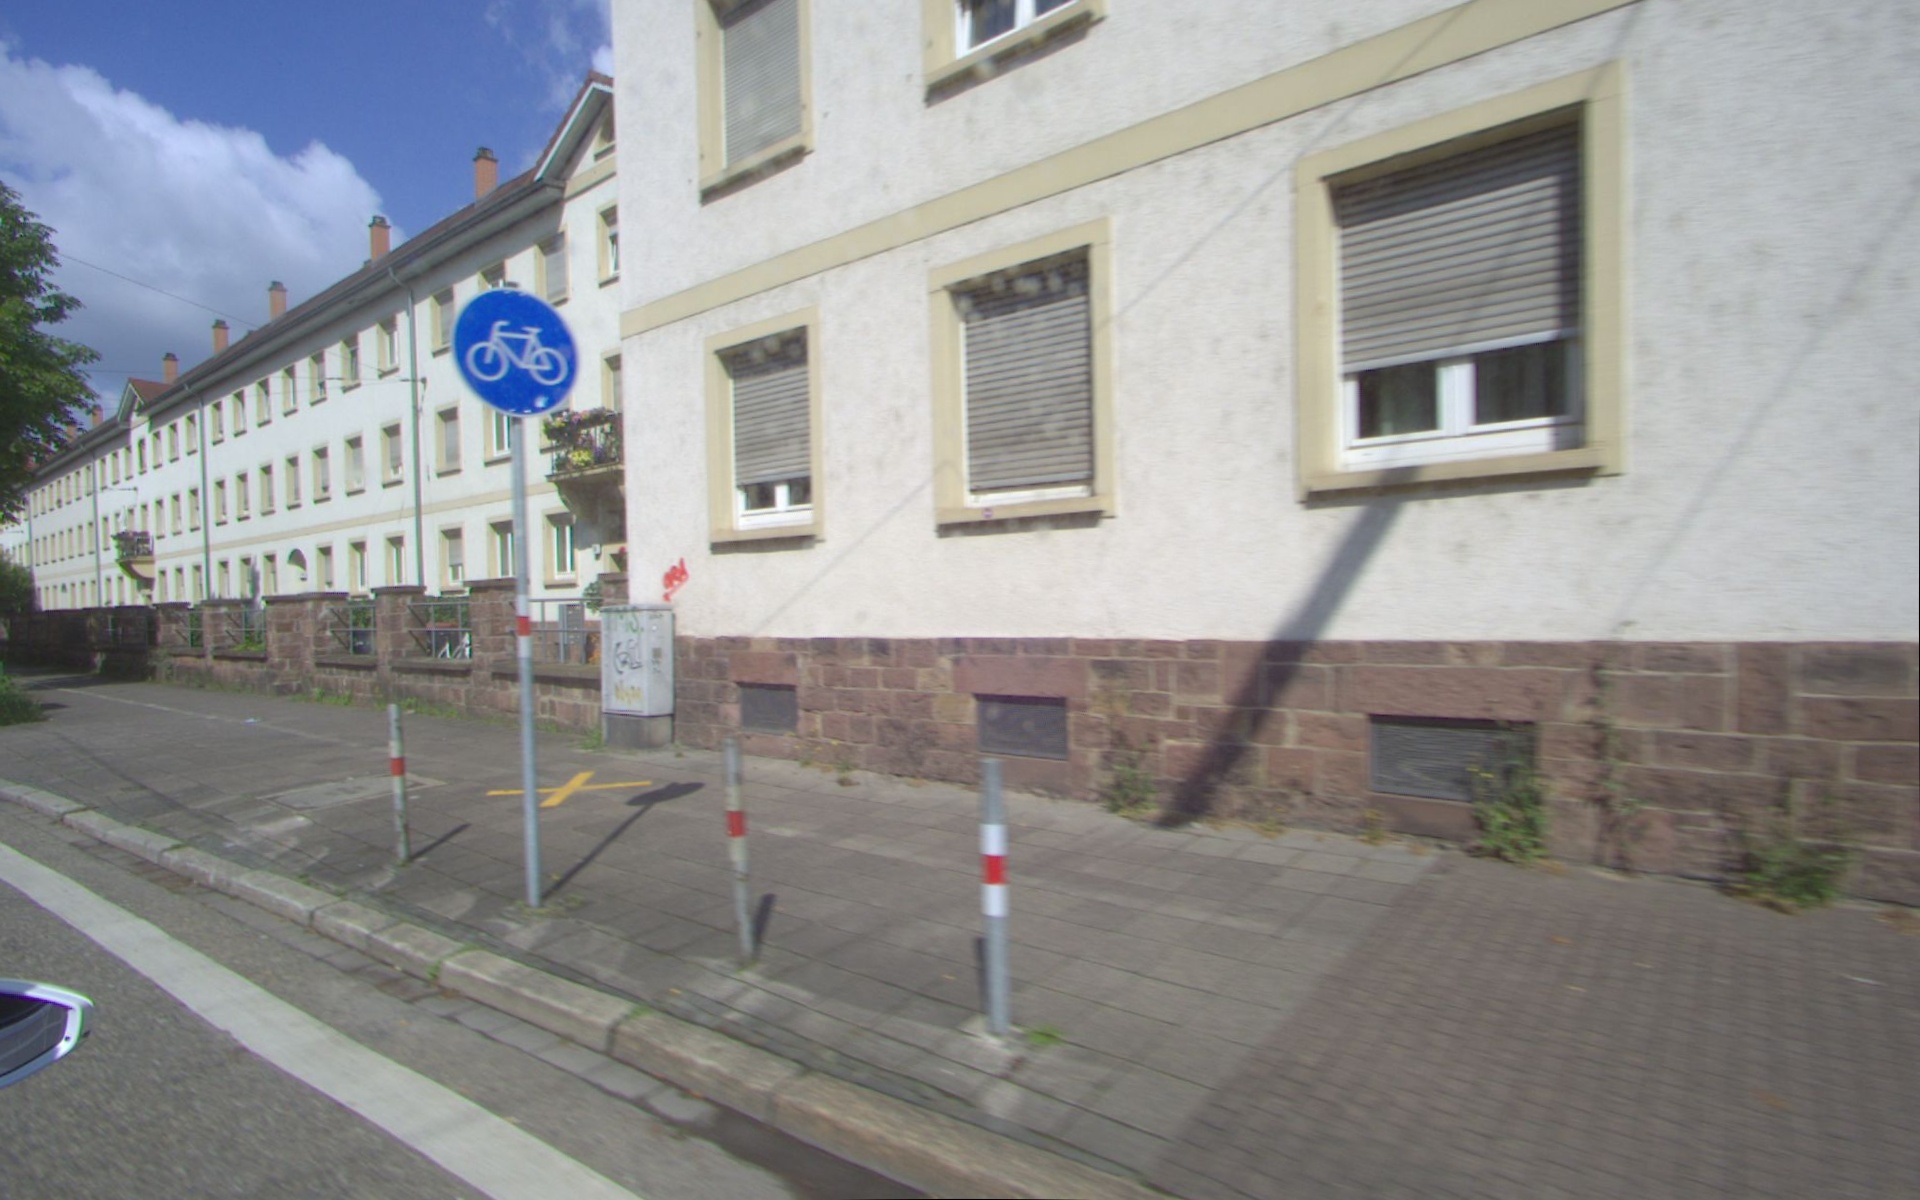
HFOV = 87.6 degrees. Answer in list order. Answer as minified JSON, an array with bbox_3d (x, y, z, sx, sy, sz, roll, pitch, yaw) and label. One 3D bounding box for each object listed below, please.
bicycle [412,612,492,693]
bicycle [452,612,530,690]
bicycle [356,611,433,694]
[{"bbox_3d":[-8.001,0.798,15.749,1.472,1.217,0.503,-1,1,37],"label":"bicycle"},{"bbox_3d":[-7.683,0.820,16.378,1.472,1.217,0.503,-1,1,37],"label":"bicycle"},{"bbox_3d":[-8.666,0.783,15.328,1.472,1.217,0.502,-1,1,39],"label":"bicycle"}]
